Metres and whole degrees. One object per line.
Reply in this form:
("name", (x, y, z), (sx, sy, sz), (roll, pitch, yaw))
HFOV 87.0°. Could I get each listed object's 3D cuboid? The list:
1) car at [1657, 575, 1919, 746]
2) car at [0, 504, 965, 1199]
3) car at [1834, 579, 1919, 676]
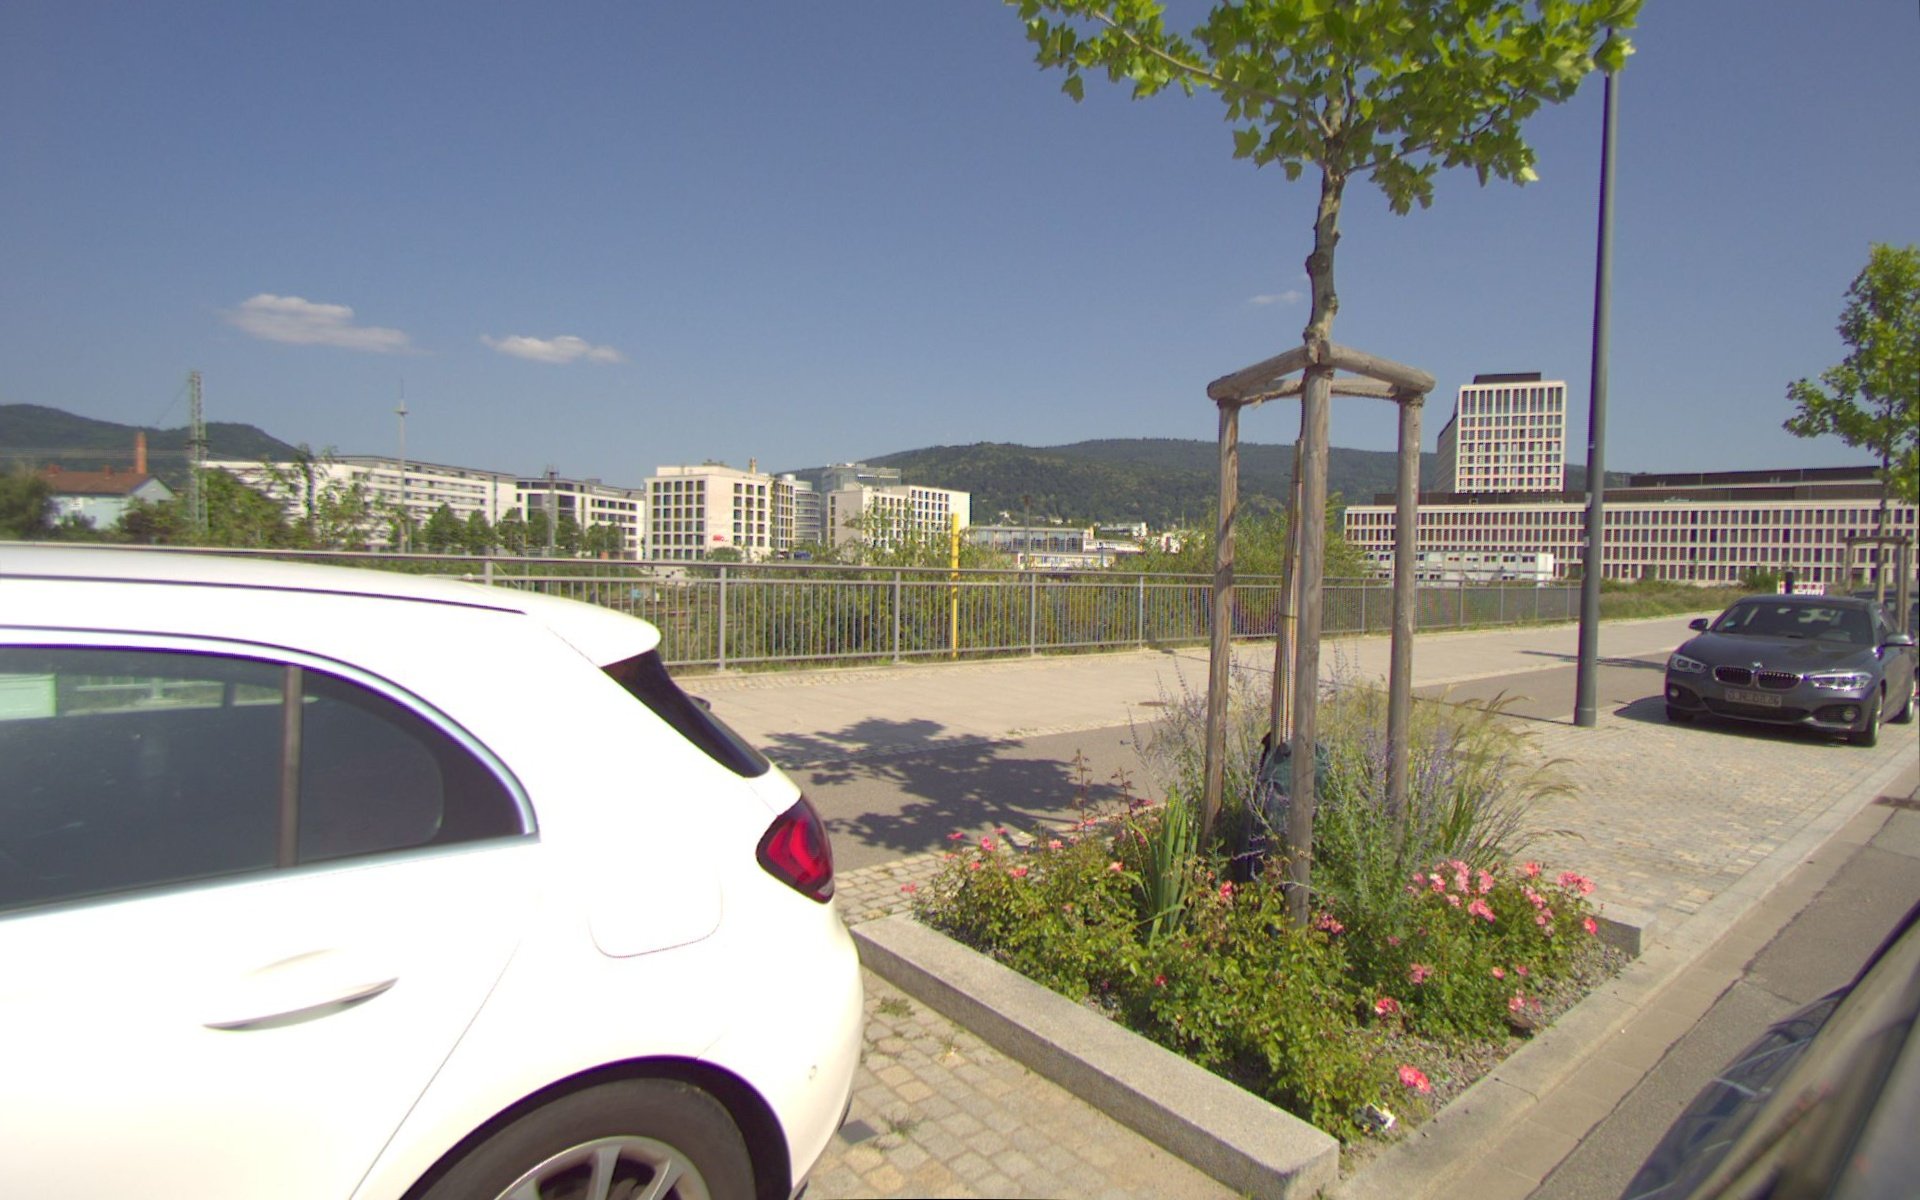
("car", (9.359, 0.517, 11.132), (3.848, 1.449, 1.808), (-1, 5, -41))
("car", (-2.154, 0.557, 1.259), (4.196, 1.390, 1.711), (-1, 5, -41))
("car", (16.381, 0.445, 17.395), (2.954, 1.491, 1.569), (-1, 5, -41))
